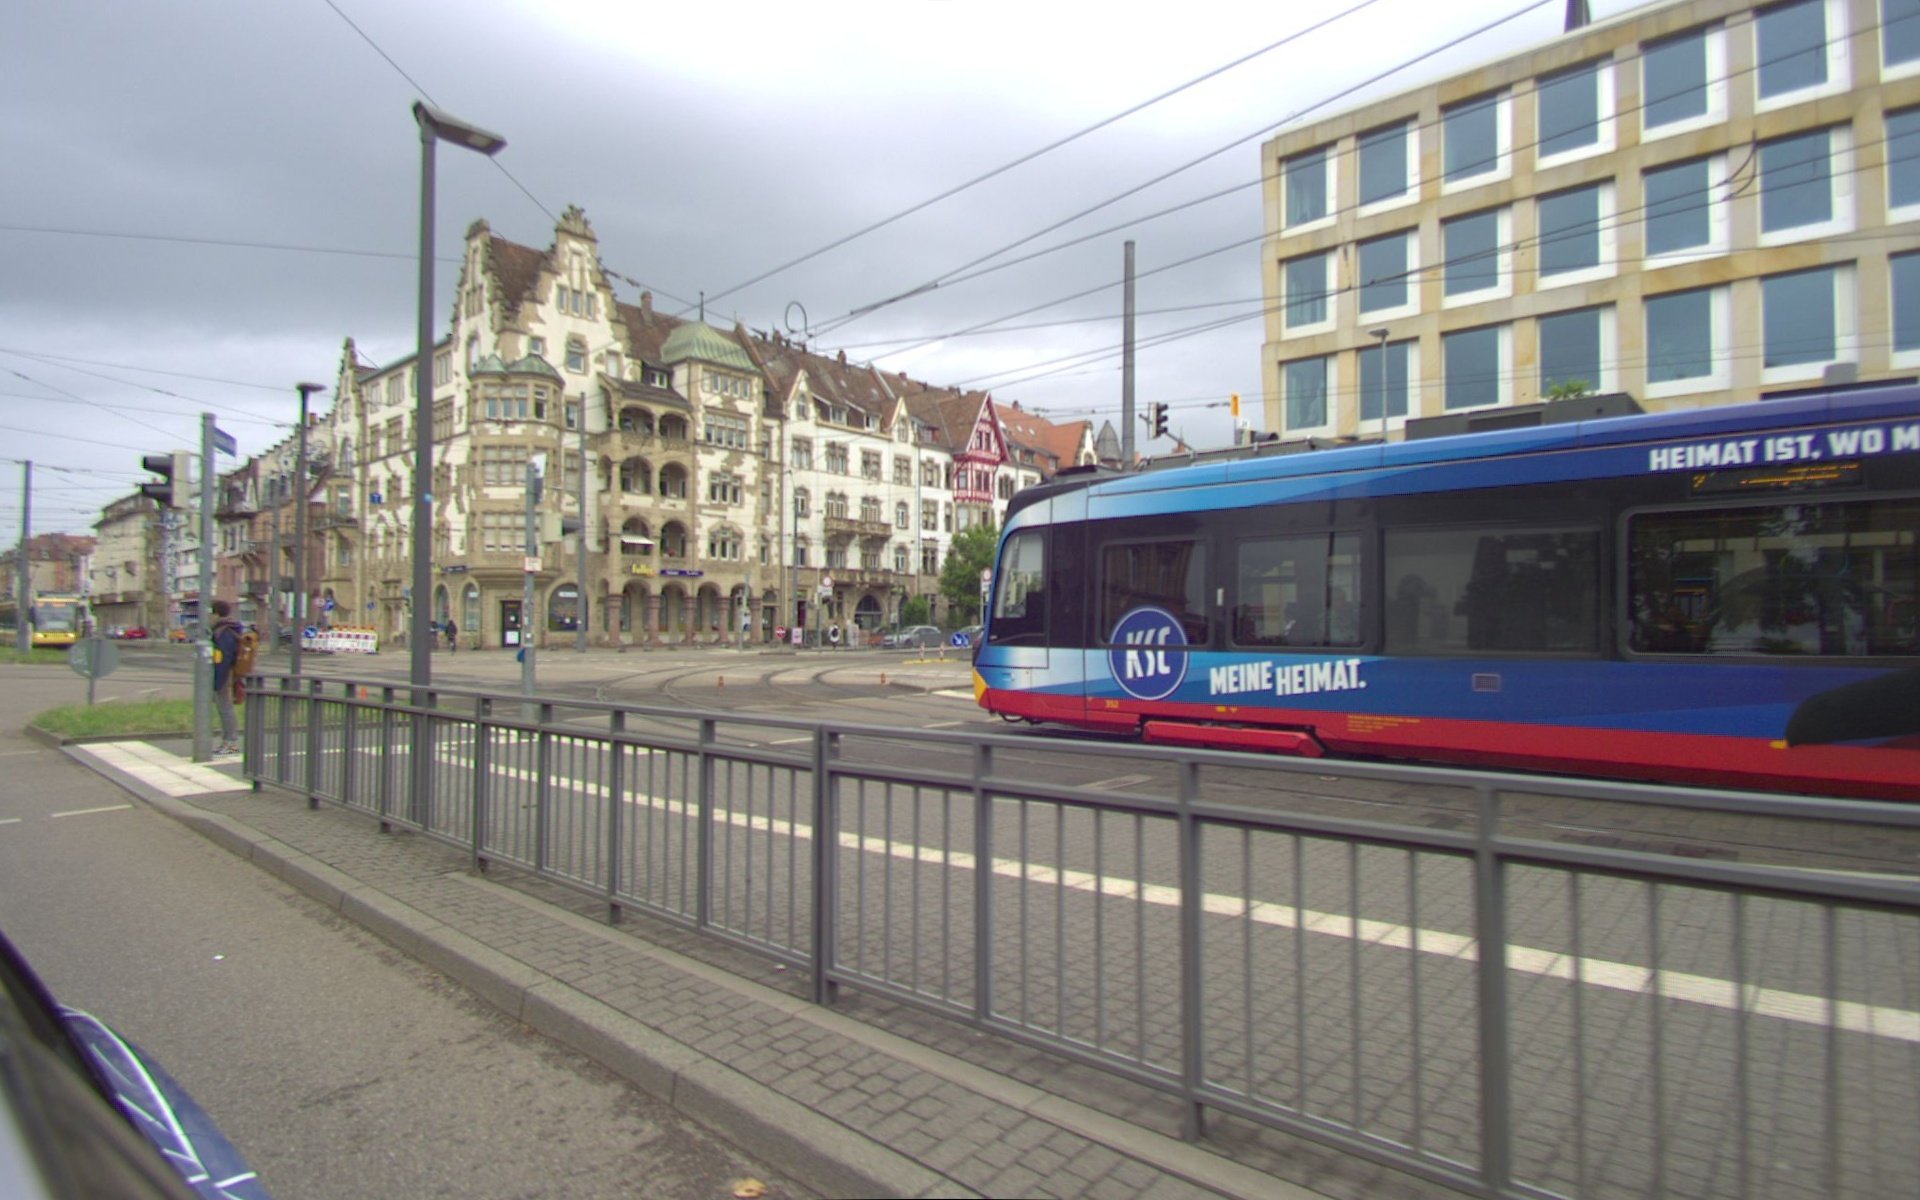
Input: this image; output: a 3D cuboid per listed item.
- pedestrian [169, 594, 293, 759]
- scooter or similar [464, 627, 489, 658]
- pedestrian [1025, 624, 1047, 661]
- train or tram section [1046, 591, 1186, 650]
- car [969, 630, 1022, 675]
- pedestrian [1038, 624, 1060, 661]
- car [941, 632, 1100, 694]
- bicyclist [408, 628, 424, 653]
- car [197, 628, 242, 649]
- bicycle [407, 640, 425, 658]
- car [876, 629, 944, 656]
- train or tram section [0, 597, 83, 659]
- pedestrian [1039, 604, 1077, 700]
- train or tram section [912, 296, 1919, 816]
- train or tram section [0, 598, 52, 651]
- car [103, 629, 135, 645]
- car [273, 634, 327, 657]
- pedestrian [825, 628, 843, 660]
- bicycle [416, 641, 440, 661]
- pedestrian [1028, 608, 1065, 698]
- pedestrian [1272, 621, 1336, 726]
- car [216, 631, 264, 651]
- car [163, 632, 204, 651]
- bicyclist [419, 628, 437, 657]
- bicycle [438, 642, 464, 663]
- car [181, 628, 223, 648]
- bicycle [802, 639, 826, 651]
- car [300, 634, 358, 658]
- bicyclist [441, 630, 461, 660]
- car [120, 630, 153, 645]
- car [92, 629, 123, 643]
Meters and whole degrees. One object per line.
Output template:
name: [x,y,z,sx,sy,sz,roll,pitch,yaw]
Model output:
pedestrian: [-7.648,0.782,10.660,0.644,1.655,0.860,1,-2,0]
scooter or similar: [-27.403,2.409,57.318,1.829,1.728,0.558,-1,-2,40]
pedestrian: [3.710,2.054,49.296,0.683,1.767,0.848,-1,-2,37]
train or tram section: [10.715,1.432,67.490,2.601,3.540,13.931,-1,-2,39]
car: [1.320,1.834,36.087,1.722,1.505,4.360,0,-2,5]
pedestrian: [4.292,2.049,48.870,0.683,1.767,0.848,-1,-2,37]
car: [1.484,1.540,25.588,3.766,1.460,1.721,-2,-2,41]
bicyclist: [-31.447,2.357,58.537,0.697,1.455,0.975,1,-3,-34]
car: [-59.764,3.132,81.691,3.996,1.608,1.974,-1,-2,39]
bicycle: [-31.448,2.821,58.521,0.697,1.045,2.028,1,-3,-34]
car: [-2.982,2.541,60.700,1.800,1.522,3.943,-1,-2,43]
train or tram section: [-56.618,1.644,62.075,13.616,3.463,2.616,-1,-2,42]
pedestrian: [1.982,1.029,20.375,0.739,1.882,0.853,0,-2,8]
train or tram section: [4.704,-0.249,10.817,11.760,3.668,2.825,-1,-2,41]
train or tram section: [-66.663,1.705,71.224,13.616,3.463,2.616,-1,-2,42]
car: [-92.885,4.065,111.753,3.996,1.608,1.974,-1,-2,39]
car: [-45.332,3.103,69.448,3.996,1.453,1.974,-1,-2,39]
pedestrian: [-6.721,2.328,53.940,0.704,1.699,0.601,-1,-2,40]
bicycle: [-29.210,2.805,55.575,0.713,1.045,1.912,2,-4,-41]
pedestrian: [1.846,1.113,21.529,0.739,1.882,0.853,0,-2,8]
pedestrian: [5.439,1.143,16.011,0.765,1.598,0.700,-1,-2,40]
car: [-55.255,3.156,77.626,3.996,1.453,1.974,-1,-2,39]
car: [-69.590,3.694,90.672,3.996,1.608,1.974,-1,-2,39]
bicyclist: [-29.264,2.334,55.656,0.713,1.618,0.860,2,-4,-41]
bicycle: [-26.007,2.674,51.683,0.739,1.045,1.917,2,-4,-42]
car: [-64.540,3.193,86.168,3.996,1.608,1.974,-1,-2,39]
bicycle: [-9.661,2.963,66.941,1.803,0.744,0.554,-1,-2,42]
car: [-40.598,2.923,65.126,3.996,1.453,1.974,-1,-2,39]
bicyclist: [-26.011,2.298,51.695,0.739,1.532,0.766,2,-4,-42]
car: [-87.805,3.989,107.916,3.996,1.608,1.974,-1,-2,39]
car: [-96.854,4.089,115.019,3.996,1.608,1.974,-1,-2,39]
